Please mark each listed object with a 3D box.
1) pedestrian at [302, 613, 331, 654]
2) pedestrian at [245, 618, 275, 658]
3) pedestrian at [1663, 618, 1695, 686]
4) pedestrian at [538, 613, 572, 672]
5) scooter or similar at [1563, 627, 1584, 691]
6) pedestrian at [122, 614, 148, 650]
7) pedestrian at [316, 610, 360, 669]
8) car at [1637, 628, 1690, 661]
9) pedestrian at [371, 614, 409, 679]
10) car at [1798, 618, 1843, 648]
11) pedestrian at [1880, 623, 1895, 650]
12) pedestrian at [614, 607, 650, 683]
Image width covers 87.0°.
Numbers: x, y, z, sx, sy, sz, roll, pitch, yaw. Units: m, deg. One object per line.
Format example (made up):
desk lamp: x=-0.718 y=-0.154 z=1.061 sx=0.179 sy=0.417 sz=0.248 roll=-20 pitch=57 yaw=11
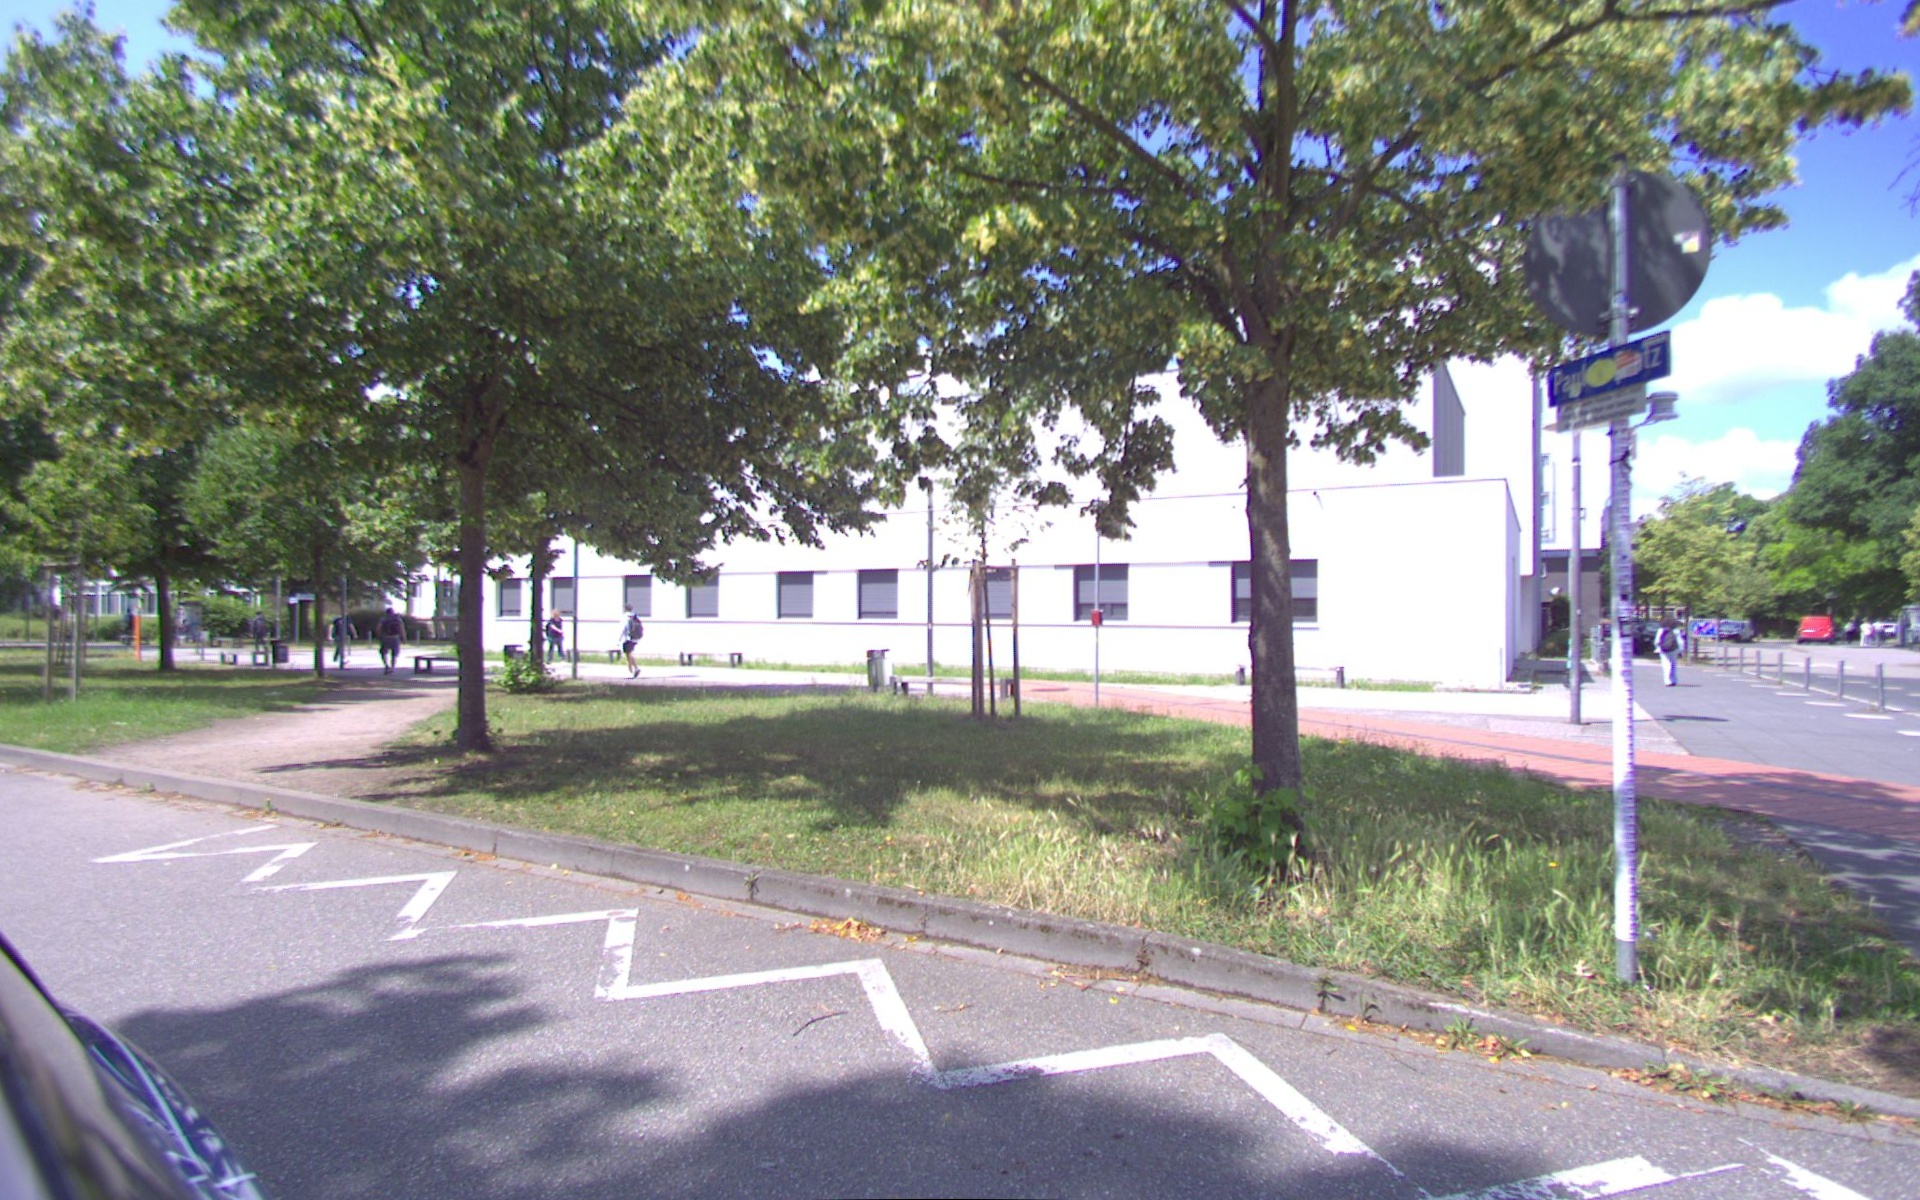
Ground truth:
pedestrian: x=-28.853 y=1.501 z=45.379 sx=0.801 sy=1.838 sz=0.841 roll=-1 pitch=-2 yaw=32
pedestrian: x=-29.351 y=1.567 z=42.417 sx=0.803 sy=1.661 sz=0.838 roll=-1 pitch=-2 yaw=41
pedestrian: x=15.624 y=1.111 z=22.014 sx=0.524 sy=1.450 sz=0.692 roll=-1 pitch=-2 yaw=34
pedestrian: x=-11.898 y=1.245 z=29.740 sx=0.722 sy=1.701 sz=0.622 roll=-1 pitch=-2 yaw=30
scooter or similar: x=12.301 y=1.165 z=20.280 sx=0.326 sy=1.245 sz=1.061 roll=-1 pitch=-2 yaw=33
pedestrian: x=-39.896 y=1.555 z=48.941 sx=0.632 sy=1.735 sz=0.789 roll=-1 pitch=-2 yaw=30
pedestrian: x=-19.413 y=1.212 z=31.578 sx=1.092 sy=1.789 sz=0.785 roll=-1 pitch=-2 yaw=36
car: x=31.309 y=1.964 z=45.122 sx=1.546 sy=1.396 sz=3.420 roll=-1 pitch=-1 yaw=29
pedestrian: x=-14.836 y=1.203 z=26.343 sx=0.714 sy=1.669 sz=0.718 roll=1 pitch=-1 yaw=-19
car: x=54.704 y=2.101 z=64.417 sx=1.911 sy=1.896 sz=3.949 roll=-1 pitch=-2 yaw=37
pedestrian: x=55.157 y=2.166 z=60.183 sx=0.643 sy=1.550 sz=0.447 roll=-1 pitch=-2 yaw=42
pedestrian: x=-7.889 y=1.071 z=24.382 sx=0.700 sy=1.783 sz=0.832 roll=0 pitch=-1 yaw=-9
